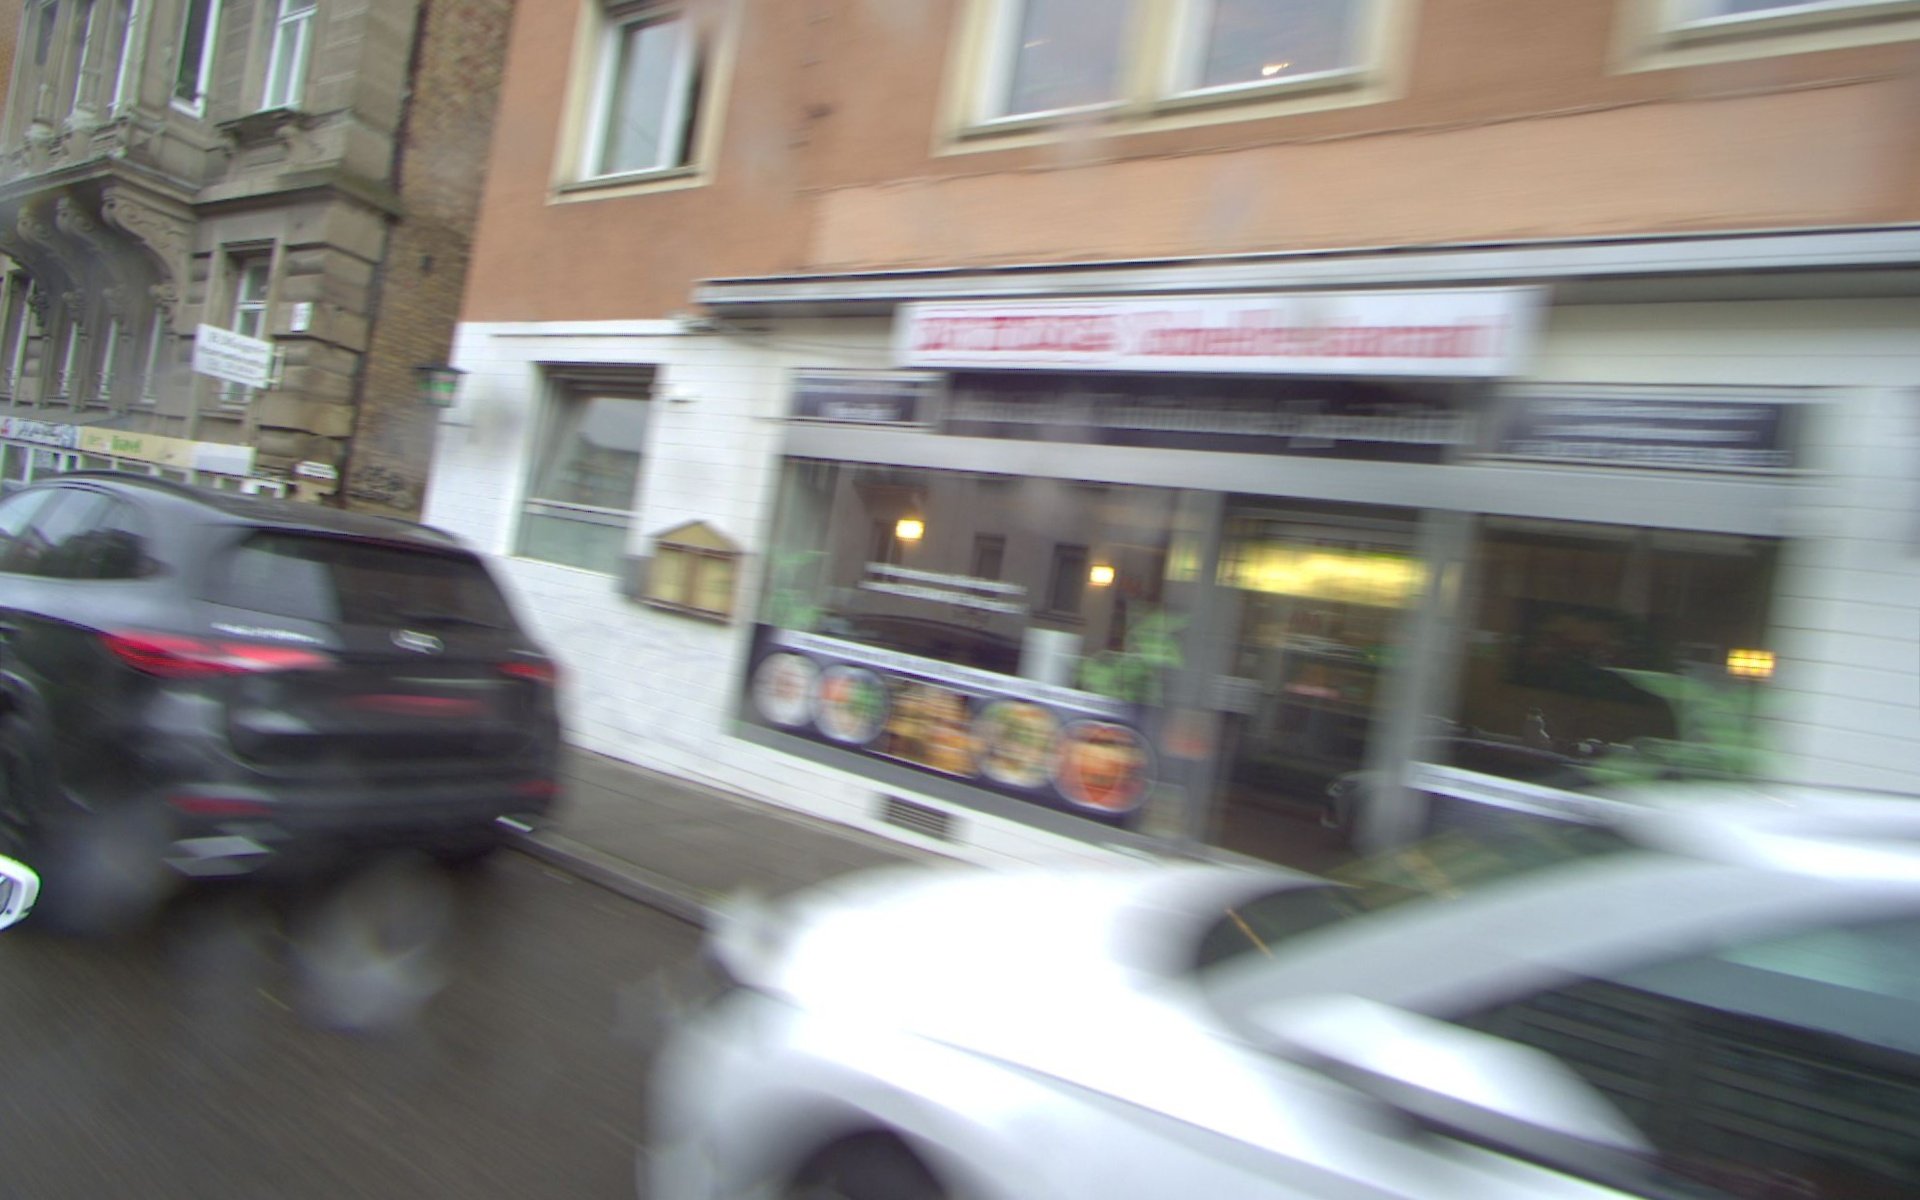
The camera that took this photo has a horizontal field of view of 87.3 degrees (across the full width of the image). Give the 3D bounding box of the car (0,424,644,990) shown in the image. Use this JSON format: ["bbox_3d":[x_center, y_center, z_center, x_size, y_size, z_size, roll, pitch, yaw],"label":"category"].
[{"bbox_3d":[-3.888,0.210,4.925,4.512,1.650,1.849,6,-3,33],"label":"car"}]

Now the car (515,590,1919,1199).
[{"bbox_3d":[1.500,0.996,1.625,4.512,1.472,1.804,6,-2,33],"label":"car"}]
